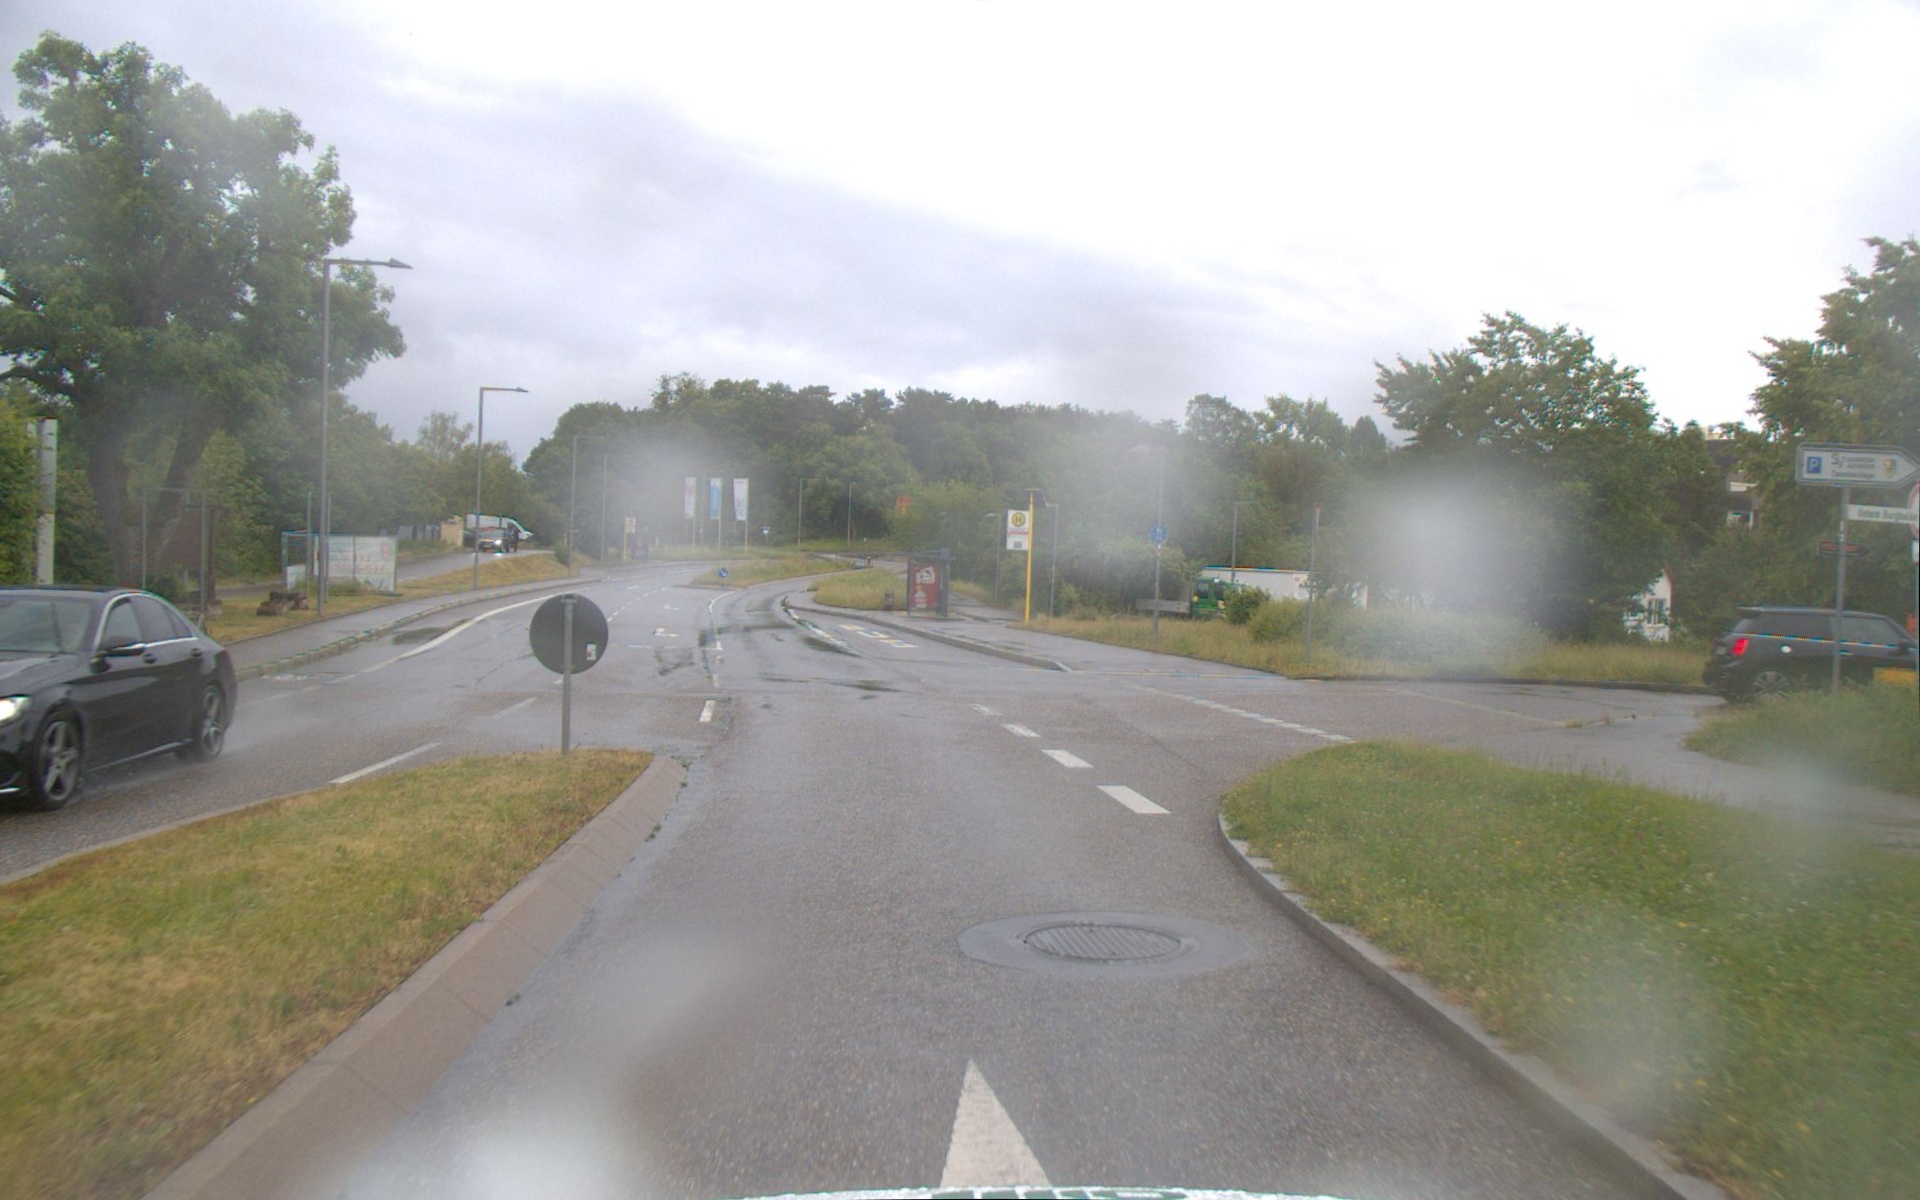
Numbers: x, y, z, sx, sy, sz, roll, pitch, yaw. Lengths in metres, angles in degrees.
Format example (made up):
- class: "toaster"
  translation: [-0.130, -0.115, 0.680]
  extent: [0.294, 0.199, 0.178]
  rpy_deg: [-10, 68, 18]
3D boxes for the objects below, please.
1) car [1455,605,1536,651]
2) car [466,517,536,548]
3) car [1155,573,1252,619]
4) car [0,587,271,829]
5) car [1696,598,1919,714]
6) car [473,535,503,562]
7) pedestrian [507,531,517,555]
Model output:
- class: "car"
  translation: [20.524, 1.045, 63.509]
  extent: [1.890, 1.534, 4.002]
  rpy_deg: [1, 2, 2]
- class: "car"
  translation: [-39.420, -5.790, 142.199]
  extent: [5.571, 2.446, 1.996]
  rpy_deg: [2, 0, -9]
- class: "car"
  translation: [9.934, -0.132, 67.568]
  extent: [3.361, 1.720, 1.989]
  rpy_deg: [0, -4, 41]
- class: "car"
  translation: [-6.634, 0.629, 11.926]
  extent: [1.930, 1.439, 4.409]
  rpy_deg: [0, 0, -7]
- class: "car"
  translation: [12.246, 0.788, 22.963]
  extent: [3.448, 1.379, 1.460]
  rpy_deg: [4, 0, 16]
- class: "car"
  translation: [-31.717, -3.429, 111.059]
  extent: [1.664, 1.648, 3.871]
  rpy_deg: [2, 0, -20]
- class: "pedestrian"
  translation: [-30.355, -3.858, 112.144]
  extent: [0.557, 1.648, 0.633]
  rpy_deg: [2, 0, -20]
